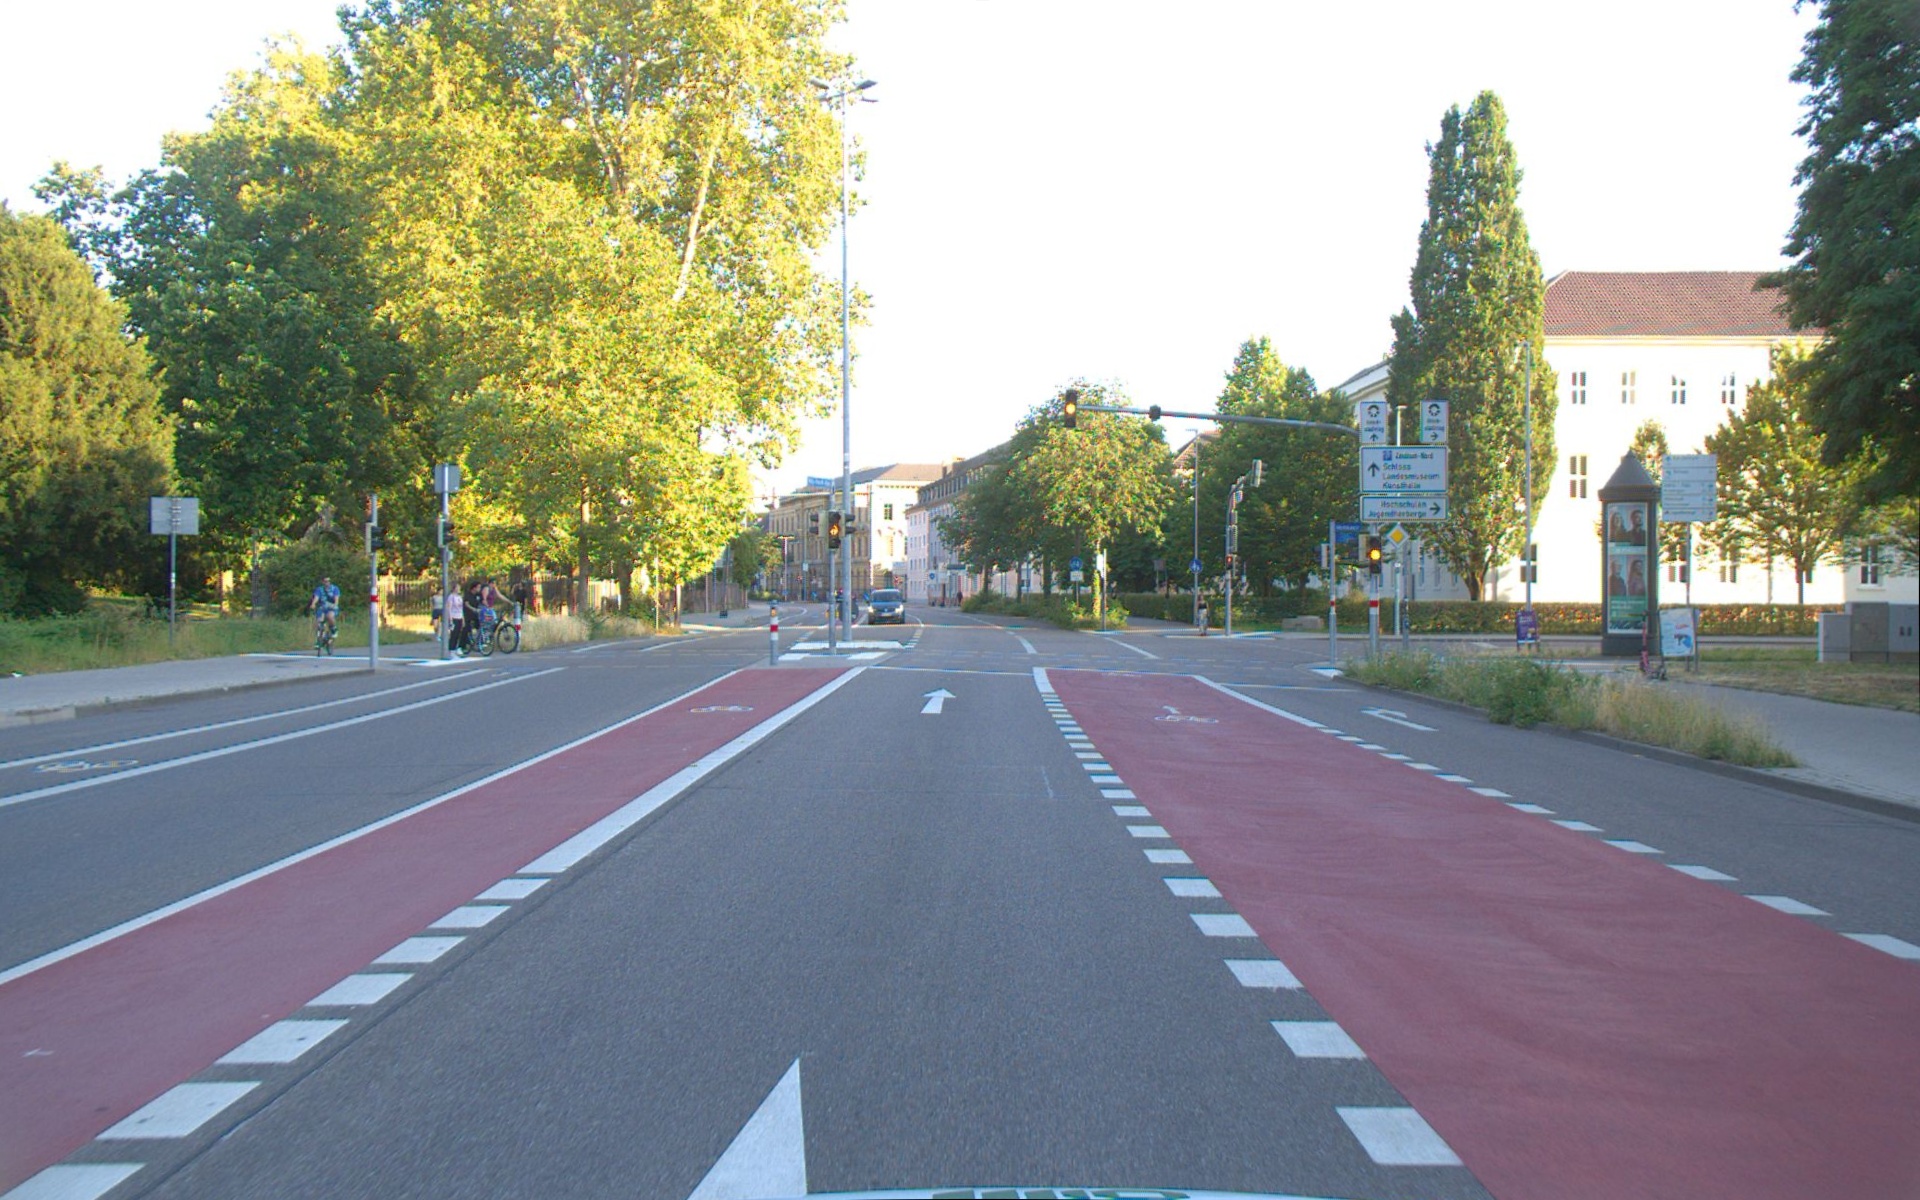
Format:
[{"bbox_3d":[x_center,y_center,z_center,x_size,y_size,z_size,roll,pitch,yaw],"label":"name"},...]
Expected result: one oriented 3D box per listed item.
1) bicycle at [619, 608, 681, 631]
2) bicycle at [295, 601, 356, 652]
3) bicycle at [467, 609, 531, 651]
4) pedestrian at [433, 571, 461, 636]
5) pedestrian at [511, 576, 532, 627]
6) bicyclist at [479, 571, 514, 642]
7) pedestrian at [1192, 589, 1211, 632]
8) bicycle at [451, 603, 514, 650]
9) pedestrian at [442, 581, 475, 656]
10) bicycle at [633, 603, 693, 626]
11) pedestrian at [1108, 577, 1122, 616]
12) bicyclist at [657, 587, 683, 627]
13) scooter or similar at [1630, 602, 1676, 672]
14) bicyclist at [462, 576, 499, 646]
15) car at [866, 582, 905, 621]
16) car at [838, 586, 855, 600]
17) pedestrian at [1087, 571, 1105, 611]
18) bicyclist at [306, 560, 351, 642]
[{"bbox_3d":[-12.682,0.805,67.778,2.379,0.940,0.775,0,0,1],"label":"bicycle"},{"bbox_3d":[-14.668,0.599,38.289,0.755,1.120,2.120,0,0,-5],"label":"bicycle"},{"bbox_3d":[-11.767,0.755,42.203,1.734,1.048,0.578,0,0,32],"label":"bicycle"},{"bbox_3d":[-16.361,0.113,52.713,0.644,2.049,0.598,1,0,-38],"label":"pedestrian"},{"bbox_3d":[-17.784,0.063,67.049,0.626,2.049,0.701,0,0,2],"label":"pedestrian"},{"bbox_3d":[-11.837,0.158,42.245,0.626,1.811,0.575,0,0,31],"label":"bicyclist"},{"bbox_3d":[9.425,0.413,64.606,0.588,1.664,0.691,1,1,-4],"label":"pedestrian"},{"bbox_3d":[-11.706,0.633,40.529,1.535,1.131,0.631,0,0,32],"label":"bicycle"},{"bbox_3d":[-11.649,0.428,38.399,0.594,1.725,0.498,0,0,2],"label":"pedestrian"},{"bbox_3d":[-12.375,0.593,68.935,2.379,0.940,0.775,0,0,1],"label":"bicycle"},{"bbox_3d":[8.187,-0.178,87.418,0.622,2.049,0.720,1,0,-3],"label":"pedestrian"},{"bbox_3d":[-12.095,0.301,68.928,0.938,1.659,0.753,0,0,1],"label":"bicyclist"},{"bbox_3d":[12.761,0.669,30.486,0.304,1.252,1.311,0,0,1],"label":"scooter or similar"},{"bbox_3d":[-11.756,0.265,40.562,0.626,1.678,0.629,0,0,31],"label":"bicyclist"},{"bbox_3d":[-3.574,0.068,79.883,1.812,1.750,4.294,-2,0,-2],"label":"car"},{"bbox_3d":[-13.237,-0.842,192.882,1.783,1.616,3.998,-1,1,-3],"label":"car"},{"bbox_3d":[7.130,-0.462,86.722,0.852,2.049,0.722,1,0,0],"label":"pedestrian"},{"bbox_3d":[-14.666,0.025,38.423,0.720,1.855,0.711,2,0,-5],"label":"bicyclist"}]
